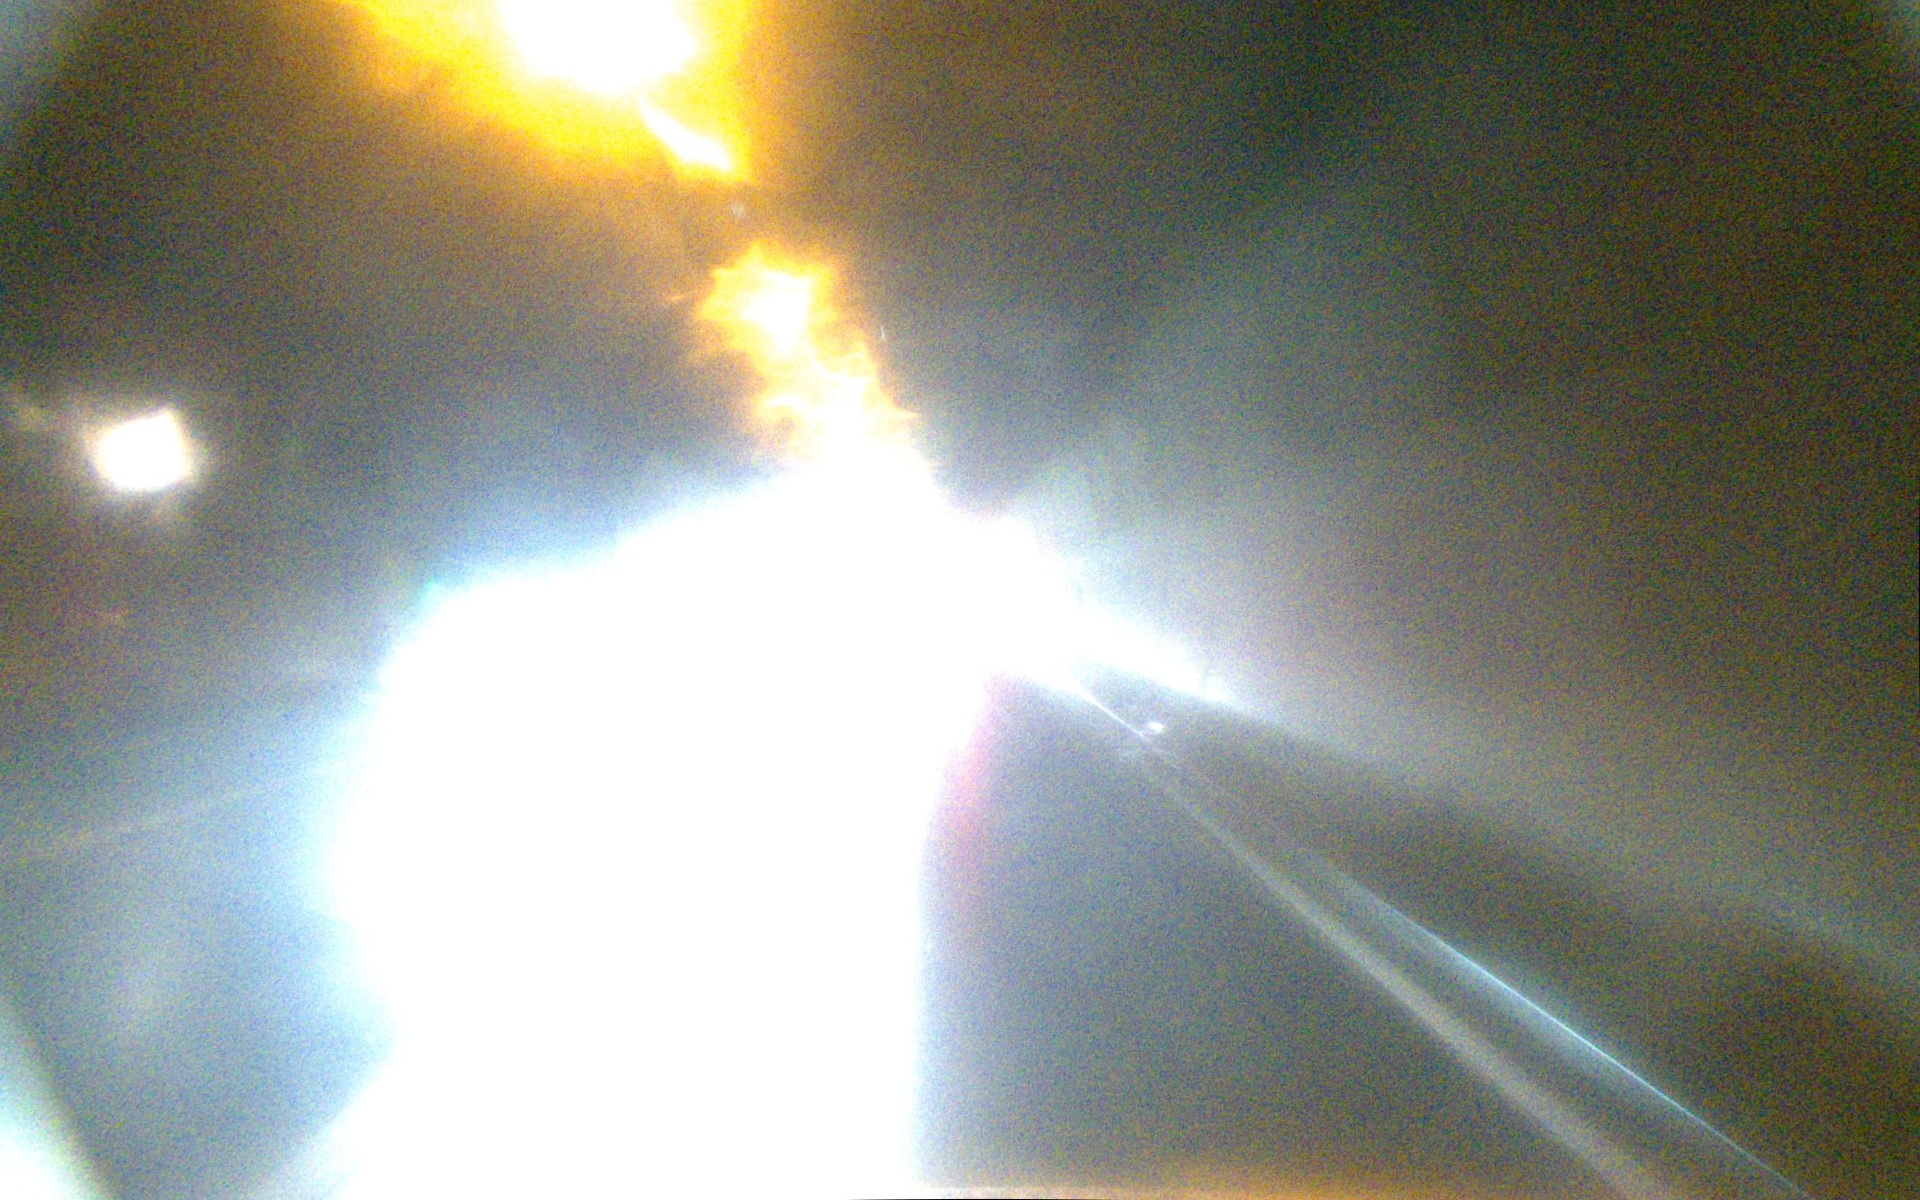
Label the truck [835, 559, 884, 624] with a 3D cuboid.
[{"bbox_3d":[-4.982,-0.436,83.074,2.234,3.069,6.591,1,0,-2],"label":"truck"}]

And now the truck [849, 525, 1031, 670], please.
[{"bbox_3d":[-0.429,-0.058,35.955,3.463,2.740,8.954,0,0,-1],"label":"truck"}]

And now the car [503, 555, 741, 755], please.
[{"bbox_3d":[-3.340,0.505,17.029,1.694,1.823,3.931,0,0,-1],"label":"car"}]
